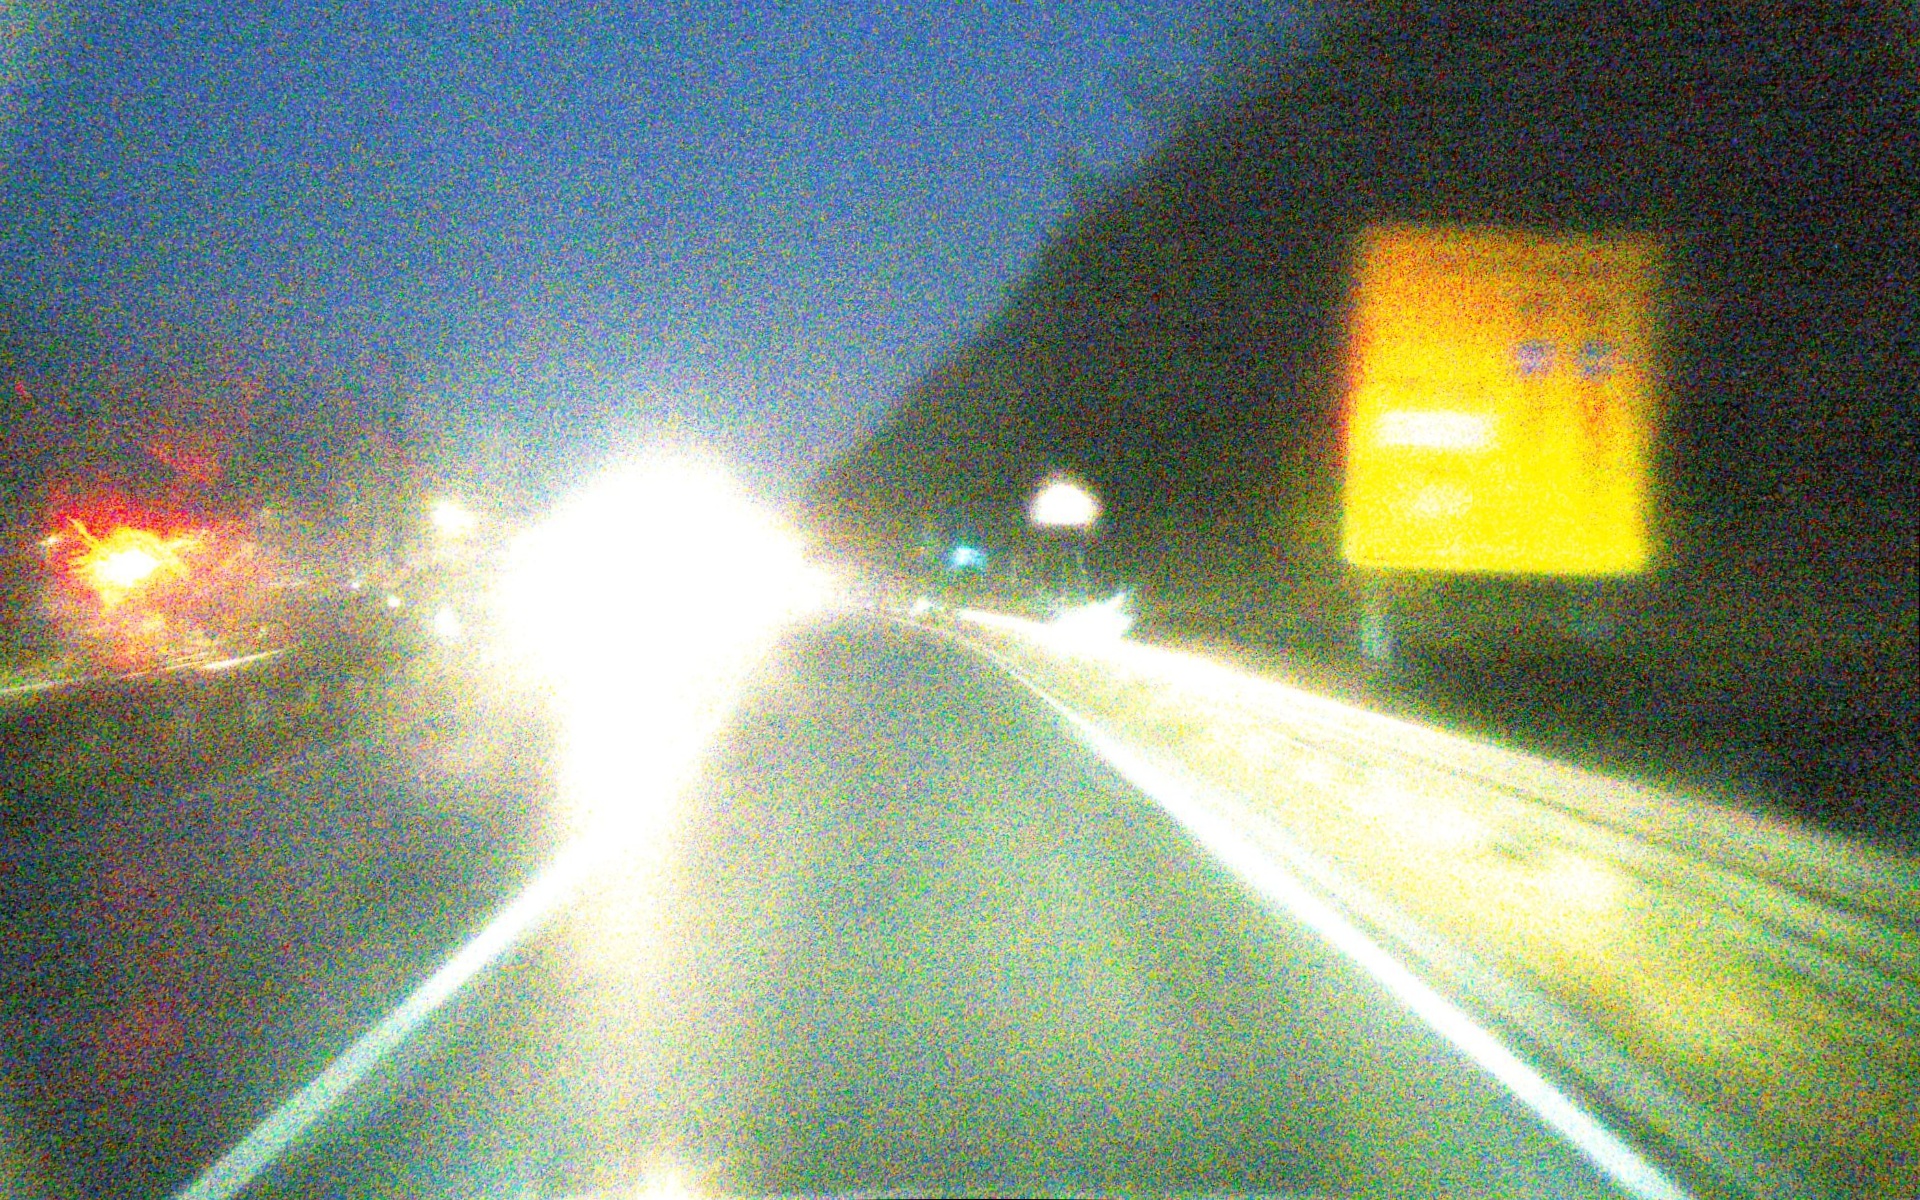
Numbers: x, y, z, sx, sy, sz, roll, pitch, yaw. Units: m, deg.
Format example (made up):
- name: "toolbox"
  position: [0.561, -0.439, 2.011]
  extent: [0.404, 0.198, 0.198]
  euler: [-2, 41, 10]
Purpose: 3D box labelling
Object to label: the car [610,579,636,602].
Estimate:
- name: "car"
  position: [-24.398, -0.675, 119.655]
  extent: [1.848, 1.628, 3.887]
  euler: [0, 0, -12]
